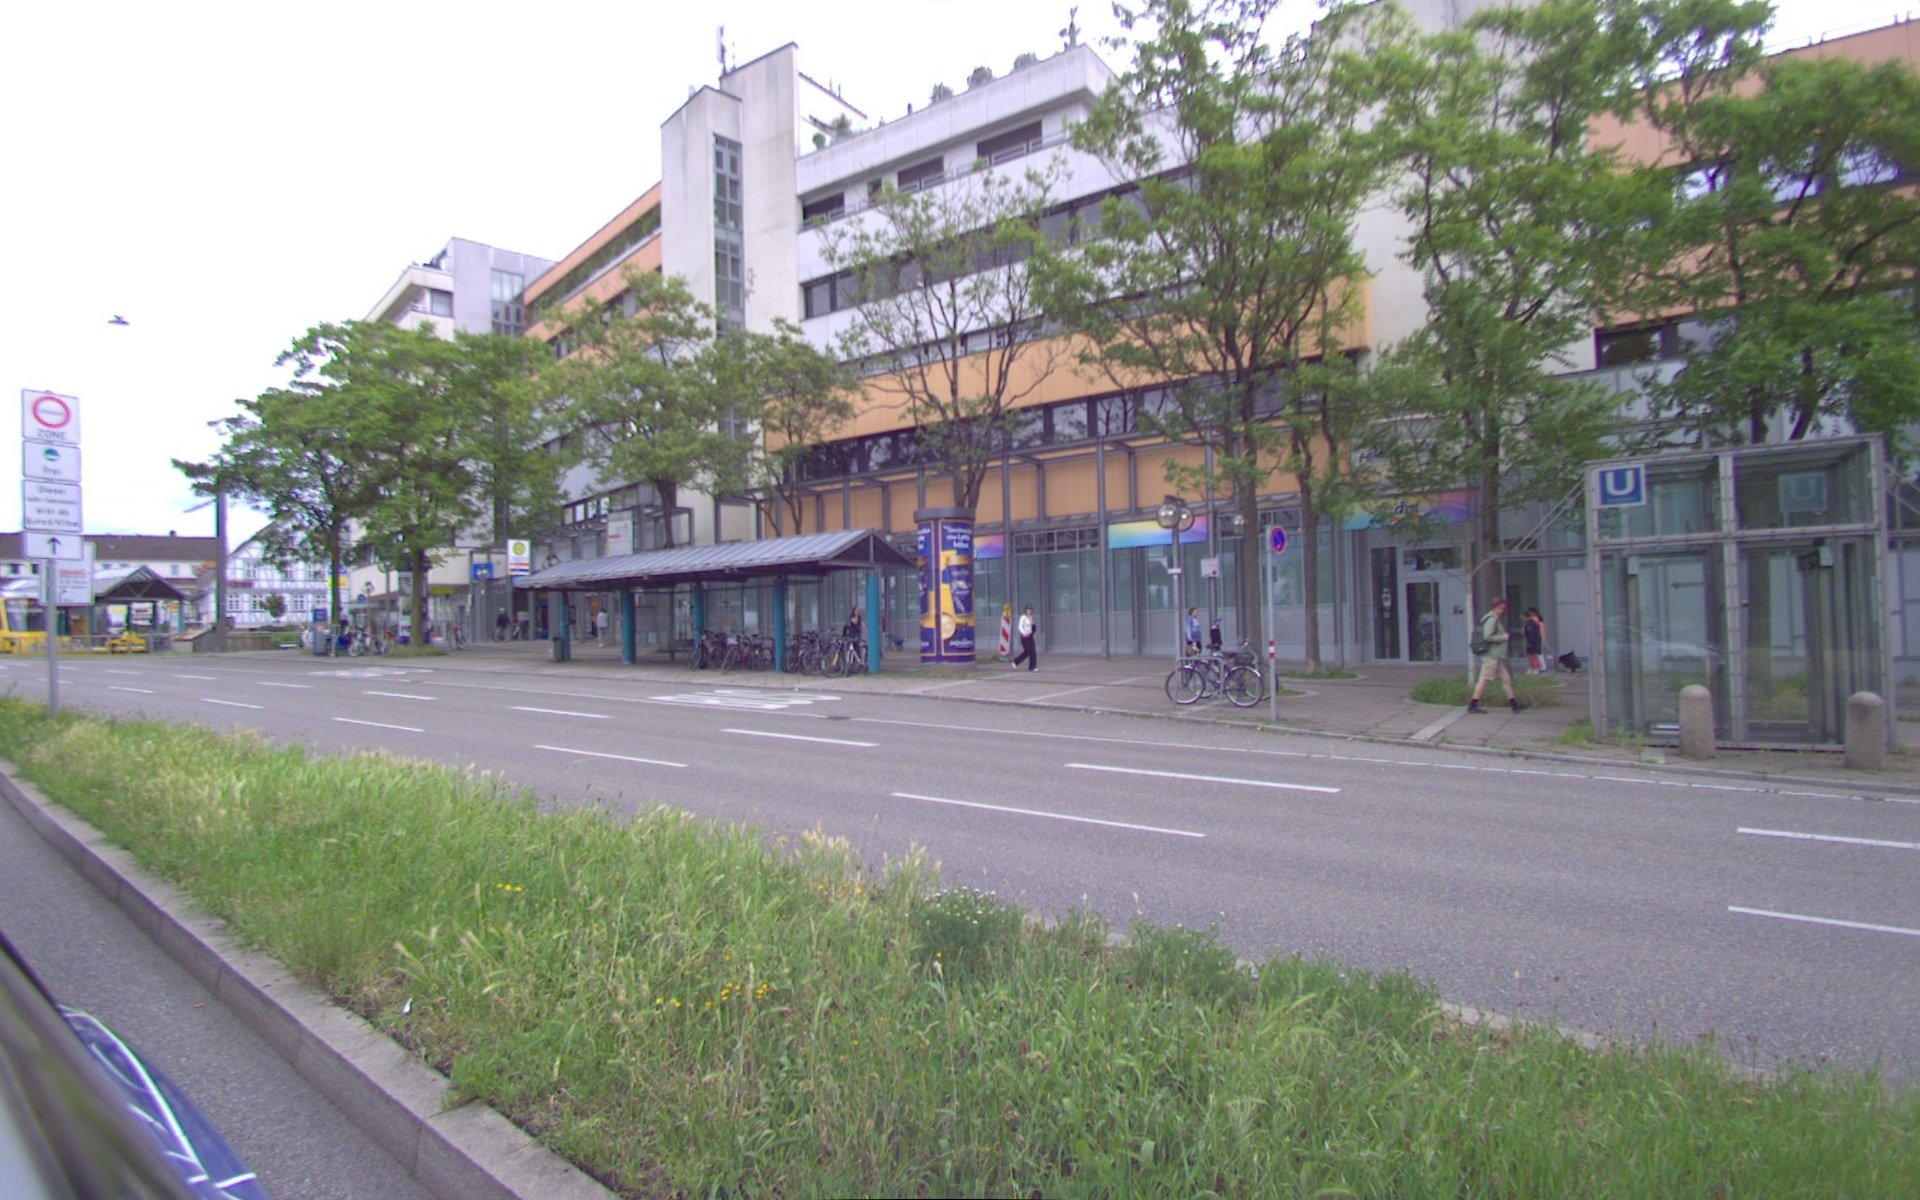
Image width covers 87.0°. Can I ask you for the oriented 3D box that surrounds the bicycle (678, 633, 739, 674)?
[{"bbox_3d":[-7.232,1.532,29.141,0.549,1.048,1.714,-2,0,38],"label":"bicycle"}]

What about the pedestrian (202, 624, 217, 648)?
[{"bbox_3d":[-49.039,2.362,66.115,0.581,1.554,0.570,-1,-2,32],"label":"pedestrian"}]

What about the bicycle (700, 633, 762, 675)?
[{"bbox_3d":[-6.454,1.509,28.577,0.549,1.048,1.714,-2,1,38],"label":"bicycle"}]

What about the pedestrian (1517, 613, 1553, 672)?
[{"bbox_3d":[13.590,0.999,23.927,0.694,1.385,0.578,-1,-2,34],"label":"pedestrian"}]

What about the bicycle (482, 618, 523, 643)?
[{"bbox_3d":[-26.095,1.732,57.759,2.106,1.377,0.621,-1,0,-24],"label":"bicycle"}]

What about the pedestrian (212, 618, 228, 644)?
[{"bbox_3d":[-57.392,2.401,78.509,0.867,2.029,1.010,1,-2,-44],"label":"pedestrian"}]

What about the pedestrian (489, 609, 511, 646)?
[{"bbox_3d":[-23.010,1.369,50.663,0.752,1.859,0.755,-1,-2,41],"label":"pedestrian"}]

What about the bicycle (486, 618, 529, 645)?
[{"bbox_3d":[-24.947,1.722,55.781,2.107,1.385,0.621,-1,0,-31],"label":"bicycle"}]

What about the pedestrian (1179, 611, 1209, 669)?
[{"bbox_3d":[6.146,1.042,26.629,0.620,1.515,0.563,-1,-2,31],"label":"pedestrian"}]

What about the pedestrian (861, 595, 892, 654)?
[{"bbox_3d":[-2.921,0.857,35.456,0.791,2.029,0.703,-1,0,31],"label":"pedestrian"}]

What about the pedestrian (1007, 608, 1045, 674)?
[{"bbox_3d":[1.695,1.053,26.077,0.721,1.662,0.669,-1,-1,37],"label":"pedestrian"}]

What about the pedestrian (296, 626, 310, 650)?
[{"bbox_3d":[-41.628,2.406,64.106,0.581,1.554,0.570,-1,-2,32],"label":"pedestrian"}]

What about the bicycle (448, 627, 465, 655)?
[{"bbox_3d":[-21.350,1.704,42.922,0.584,1.134,2.044,1,-1,-26],"label":"bicycle"}]

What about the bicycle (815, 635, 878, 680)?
[{"bbox_3d":[-2.903,1.471,26.053,0.549,1.048,1.714,-2,0,38],"label":"bicycle"}]

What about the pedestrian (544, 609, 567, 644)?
[{"bbox_3d":[-19.599,1.294,49.070,0.752,1.695,0.755,-1,-2,41],"label":"pedestrian"}]

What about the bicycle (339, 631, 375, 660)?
[{"bbox_3d":[-23.613,1.763,39.644,0.585,1.085,2.042,0,-1,-12],"label":"bicycle"}]

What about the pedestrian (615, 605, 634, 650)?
[{"bbox_3d":[-15.043,1.234,45.379,0.558,2.029,0.611,1,-2,-44],"label":"pedestrian"}]

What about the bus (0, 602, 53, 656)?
[{"bbox_3d":[-55.981,1.681,58.608,8.470,3.006,2.530,-1,-2,29],"label":"bus"}]

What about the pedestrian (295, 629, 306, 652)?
[{"bbox_3d":[-34.600,2.141,53.080,0.368,1.188,0.338,-1,-2,31],"label":"pedestrian"}]

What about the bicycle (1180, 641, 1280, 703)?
[{"bbox_3d":[4.985,1.309,18.783,1.737,1.074,0.542,-2,-1,45],"label":"bicycle"}]

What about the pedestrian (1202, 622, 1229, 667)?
[{"bbox_3d":[6.844,1.180,27.097,0.620,1.190,0.418,-1,-2,31],"label":"pedestrian"}]

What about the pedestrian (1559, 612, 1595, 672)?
[{"bbox_3d":[14.568,0.987,23.904,0.694,1.385,0.578,-1,-2,34],"label":"pedestrian"}]

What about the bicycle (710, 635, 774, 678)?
[{"bbox_3d":[-5.959,1.526,27.714,0.549,1.048,1.714,-2,1,38],"label":"bicycle"}]

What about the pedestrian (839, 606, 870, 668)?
[{"bbox_3d":[-3.158,1.100,30.173,0.769,1.800,0.525,-1,-2,33],"label":"pedestrian"}]

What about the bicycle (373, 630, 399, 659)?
[{"bbox_3d":[-22.746,1.750,40.102,0.584,1.085,2.044,0,-1,-21],"label":"bicycle"}]

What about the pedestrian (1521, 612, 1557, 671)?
[{"bbox_3d":[13.996,0.994,24.460,0.694,1.385,0.578,-1,-2,34],"label":"pedestrian"}]

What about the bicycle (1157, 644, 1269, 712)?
[{"bbox_3d":[4.369,1.321,17.591,0.802,1.068,1.739,0,-1,-40],"label":"bicycle"}]

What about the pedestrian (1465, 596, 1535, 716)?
[{"bbox_3d":[8.542,0.877,16.030,0.916,1.846,0.533,-1,-2,25],"label":"pedestrian"}]

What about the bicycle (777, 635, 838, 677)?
[{"bbox_3d":[-4.137,1.511,27.553,0.549,1.048,1.714,-2,-1,38],"label":"bicycle"}]

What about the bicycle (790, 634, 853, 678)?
[{"bbox_3d":[-3.613,1.455,26.586,0.549,1.048,1.714,-2,0,38],"label":"bicycle"}]

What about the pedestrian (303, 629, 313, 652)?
[{"bbox_3d":[-34.420,2.139,53.432,0.368,1.188,0.338,-1,-2,31],"label":"pedestrian"}]

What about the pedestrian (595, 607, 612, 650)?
[{"bbox_3d":[-15.472,1.239,43.899,0.639,1.823,0.761,0,-2,-16],"label":"pedestrian"}]

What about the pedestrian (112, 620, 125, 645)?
[{"bbox_3d":[-67.834,2.594,81.597,0.731,2.029,0.940,1,-2,-39],"label":"pedestrian"}]

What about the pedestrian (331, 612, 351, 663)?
[{"bbox_3d":[-28.542,1.726,46.661,0.608,2.325,0.583,-1,-2,39],"label":"pedestrian"}]
